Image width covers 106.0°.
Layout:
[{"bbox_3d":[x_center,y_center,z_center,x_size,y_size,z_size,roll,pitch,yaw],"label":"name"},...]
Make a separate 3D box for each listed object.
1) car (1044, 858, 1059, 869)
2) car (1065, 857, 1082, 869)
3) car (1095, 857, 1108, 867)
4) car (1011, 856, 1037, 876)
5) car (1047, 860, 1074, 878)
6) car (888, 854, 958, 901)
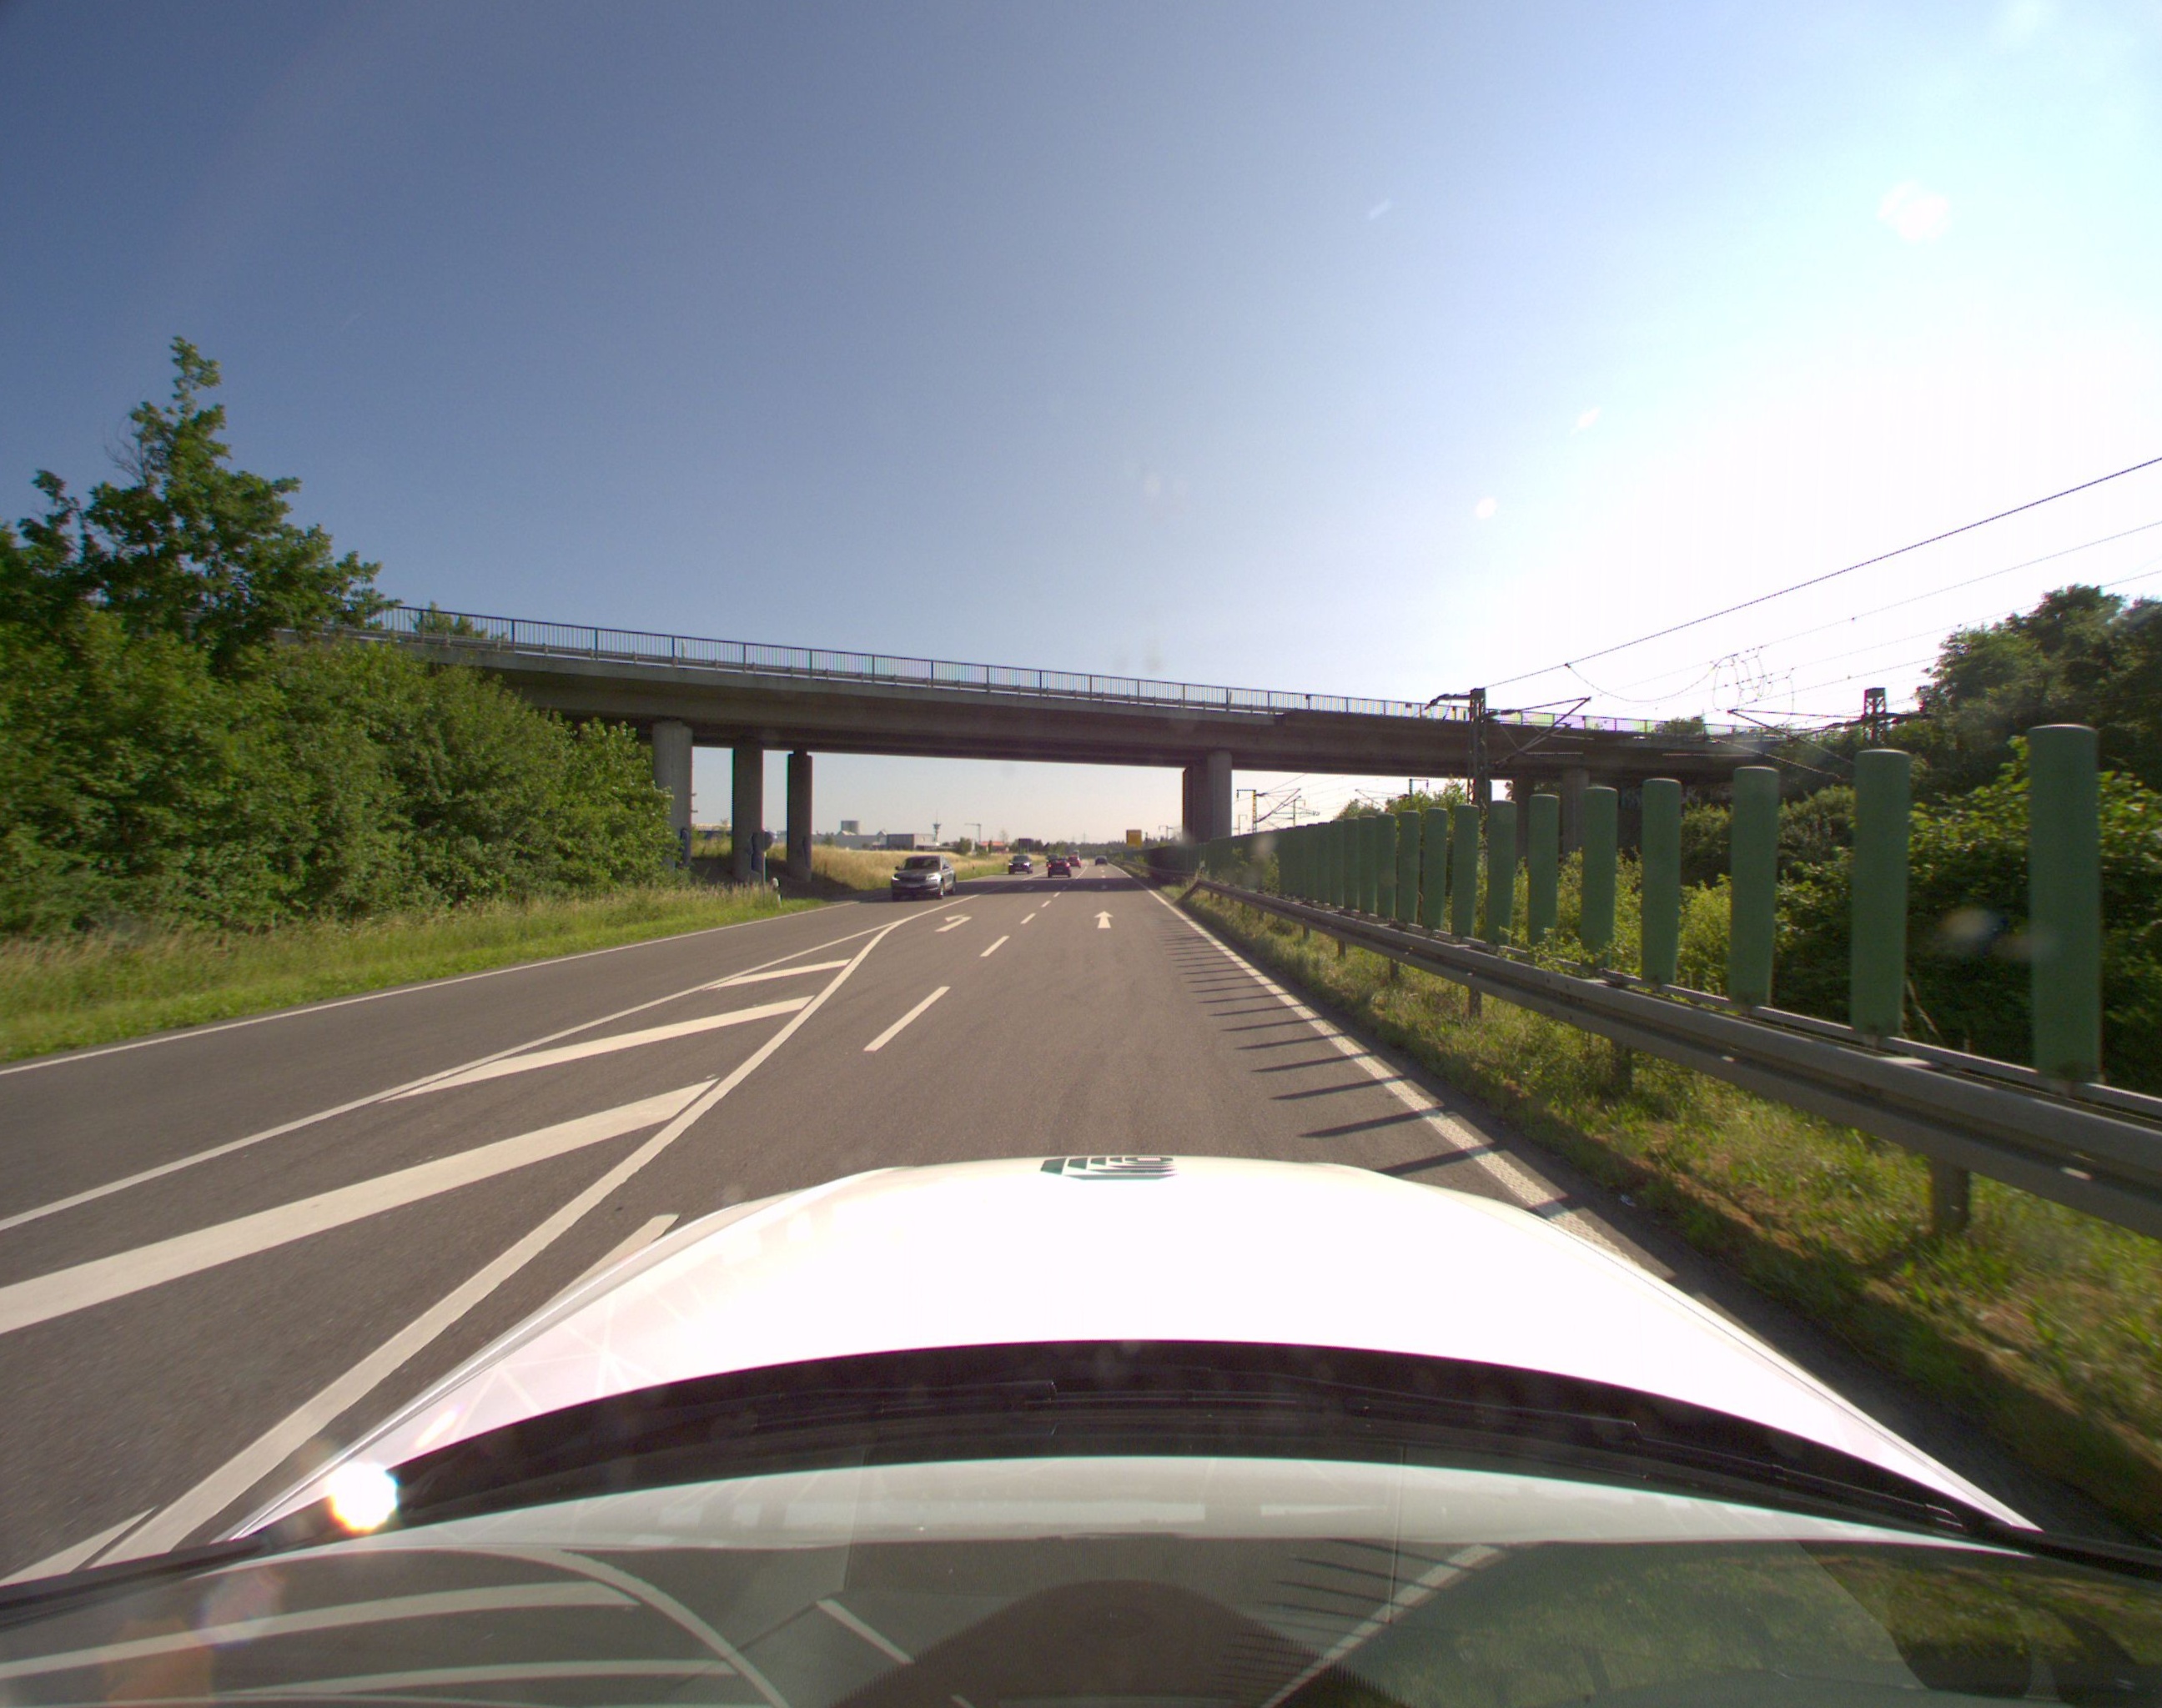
[{"bbox_3d":[-4.352,1.395,120.376,1.888,1.630,4.001,-1,-1,2],"label":"car"},{"bbox_3d":[-0.929,1.053,100.247,1.888,1.418,4.001,-1,-1,2],"label":"car"},{"bbox_3d":[3.145,1.158,122.044,1.888,1.418,4.001,-1,-1,2],"label":"car"},{"bbox_3d":[-4.980,1.043,71.785,1.888,1.630,4.001,-1,-1,2],"label":"car"},{"bbox_3d":[-1.441,1.046,58.844,1.657,1.261,4.001,-1,-1,2],"label":"car"},{"bbox_3d":[-5.924,0.844,30.907,1.839,1.630,3.999,-1,0,0],"label":"car"}]
